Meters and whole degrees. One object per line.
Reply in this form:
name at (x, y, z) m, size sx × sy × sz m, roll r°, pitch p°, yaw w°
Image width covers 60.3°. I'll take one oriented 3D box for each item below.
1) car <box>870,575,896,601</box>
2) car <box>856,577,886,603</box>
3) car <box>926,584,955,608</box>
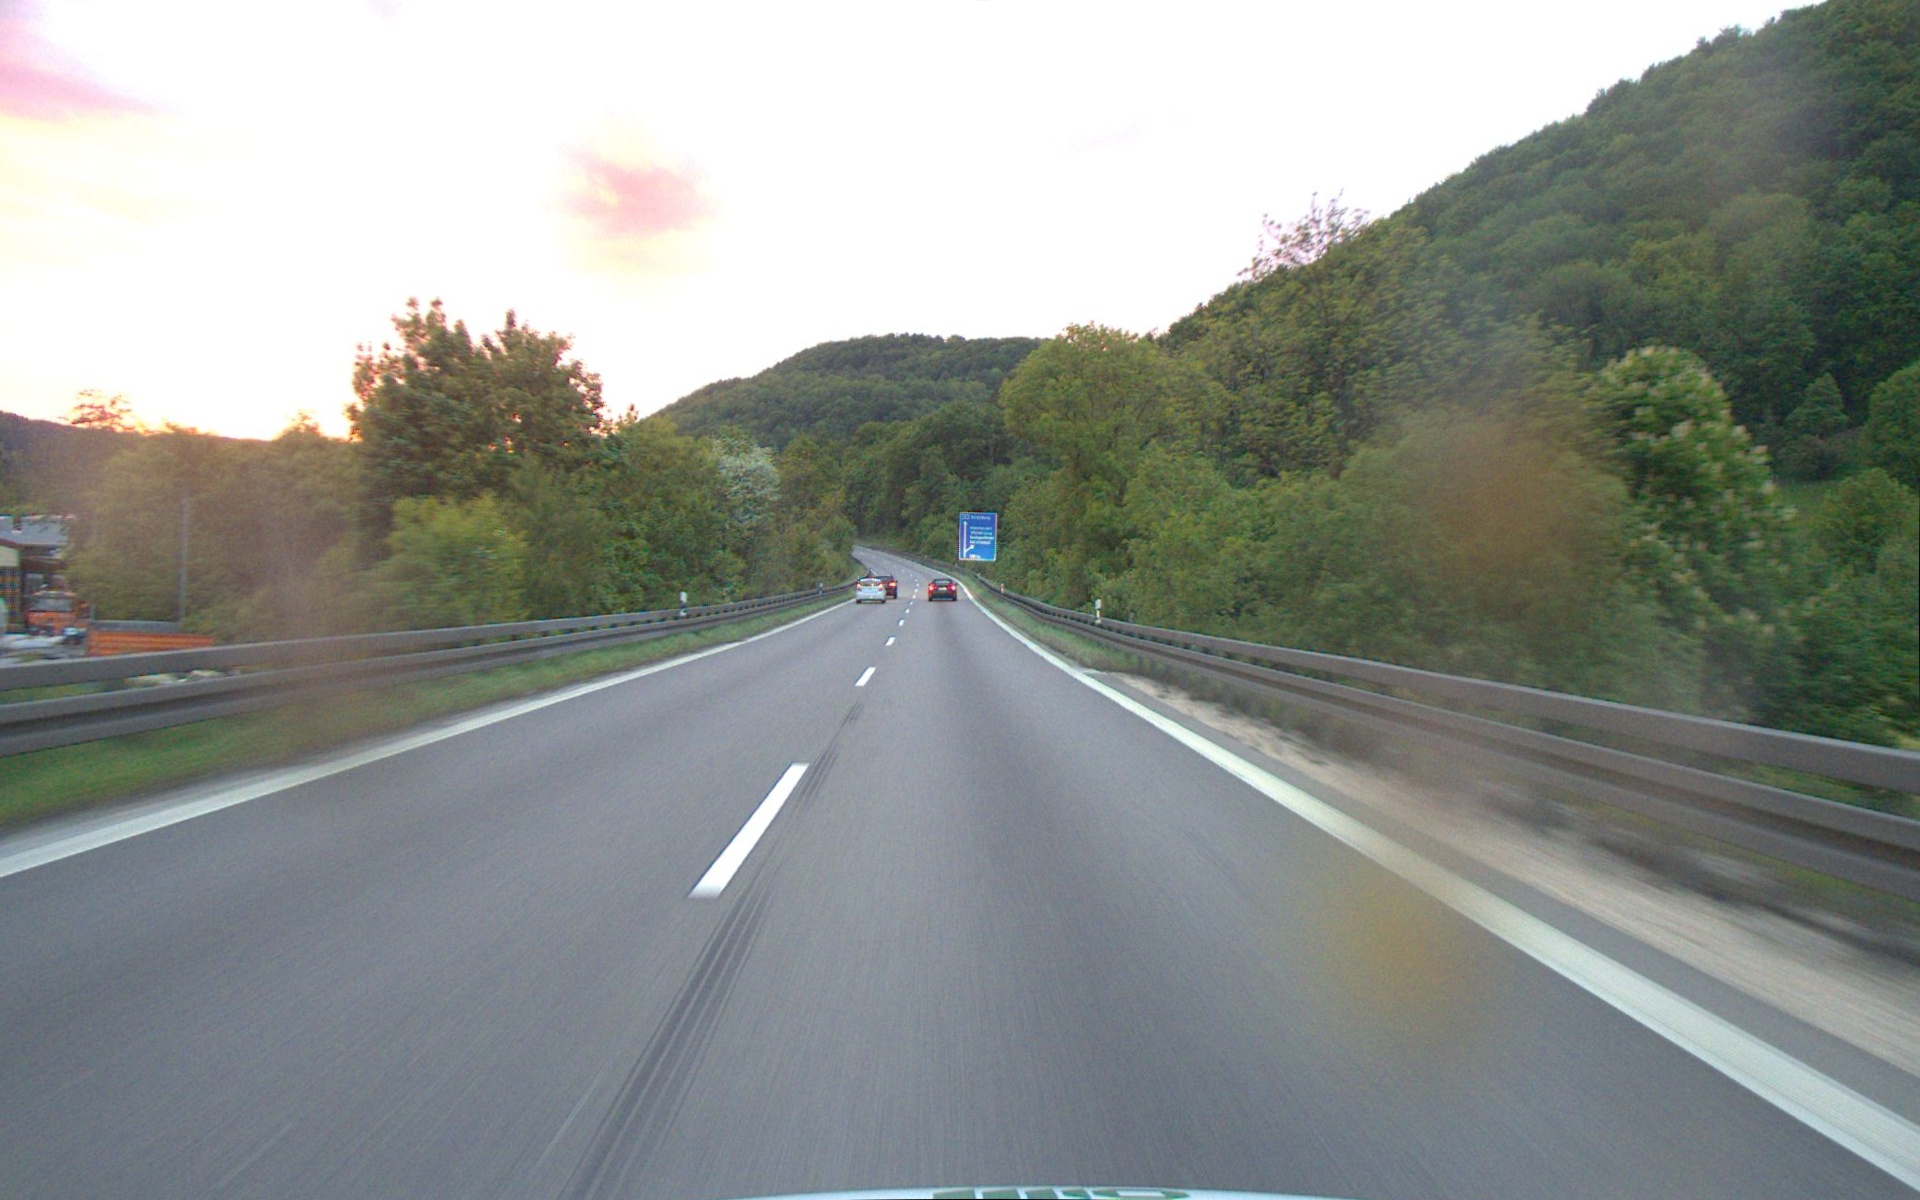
car at (-5.270, -0.840, 113.432) m, size 1.683 × 1.663 × 3.999 m, roll 0°, pitch 1°, yaw -1°
car at (-5.361, -0.619, 100.104) m, size 1.683 × 1.527 × 3.999 m, roll 0°, pitch 1°, yaw -1°
car at (-1.258, -0.294, 107.248) m, size 1.840 × 1.492 × 3.999 m, roll 0°, pitch 1°, yaw -1°
